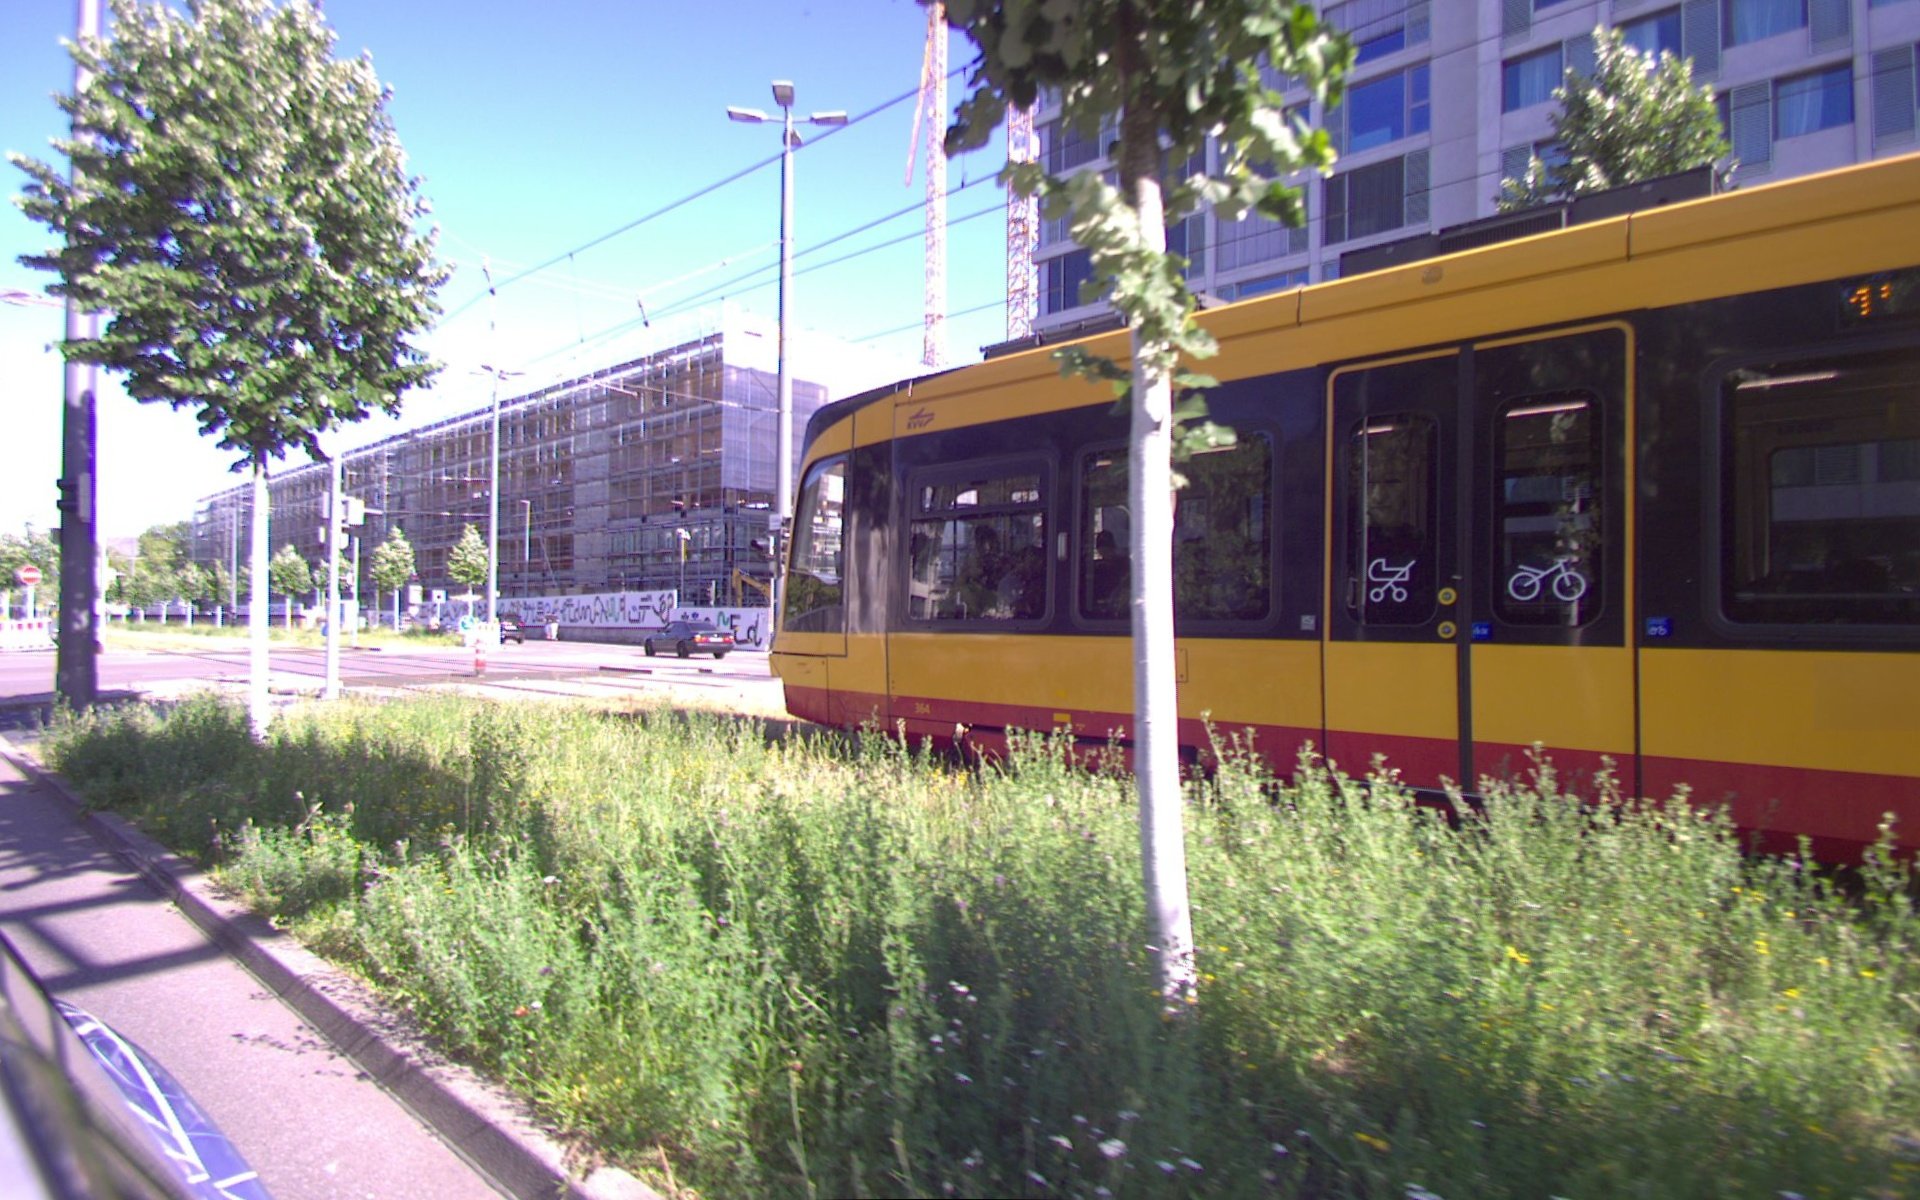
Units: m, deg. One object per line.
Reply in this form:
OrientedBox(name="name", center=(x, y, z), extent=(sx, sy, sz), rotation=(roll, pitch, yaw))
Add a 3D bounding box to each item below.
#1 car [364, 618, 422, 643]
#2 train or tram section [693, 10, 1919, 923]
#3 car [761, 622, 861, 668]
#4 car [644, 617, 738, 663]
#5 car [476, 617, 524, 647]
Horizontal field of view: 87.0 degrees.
OrientedBox(name="car", center=(-37.996, 1.995, 67.832), extent=(3.991, 1.586, 1.868), rotation=(-1, 0, 35))
OrientedBox(name="train or tram section", center=(3.264, -0.529, 5.996), extent=(14.149, 3.697, 1.972), rotation=(-1, -1, 42))
OrientedBox(name="car", center=(-5.639, 1.634, 38.057), extent=(1.861, 1.586, 4.006), rotation=(0, 0, -41))
OrientedBox(name="car", center=(-10.100, 1.446, 37.850), extent=(1.861, 1.586, 4.006), rotation=(0, 0, -41))
OrientedBox(name="car", center=(-24.846, 1.687, 54.569), extent=(1.700, 1.508, 3.583), rotation=(0, 0, -35))
